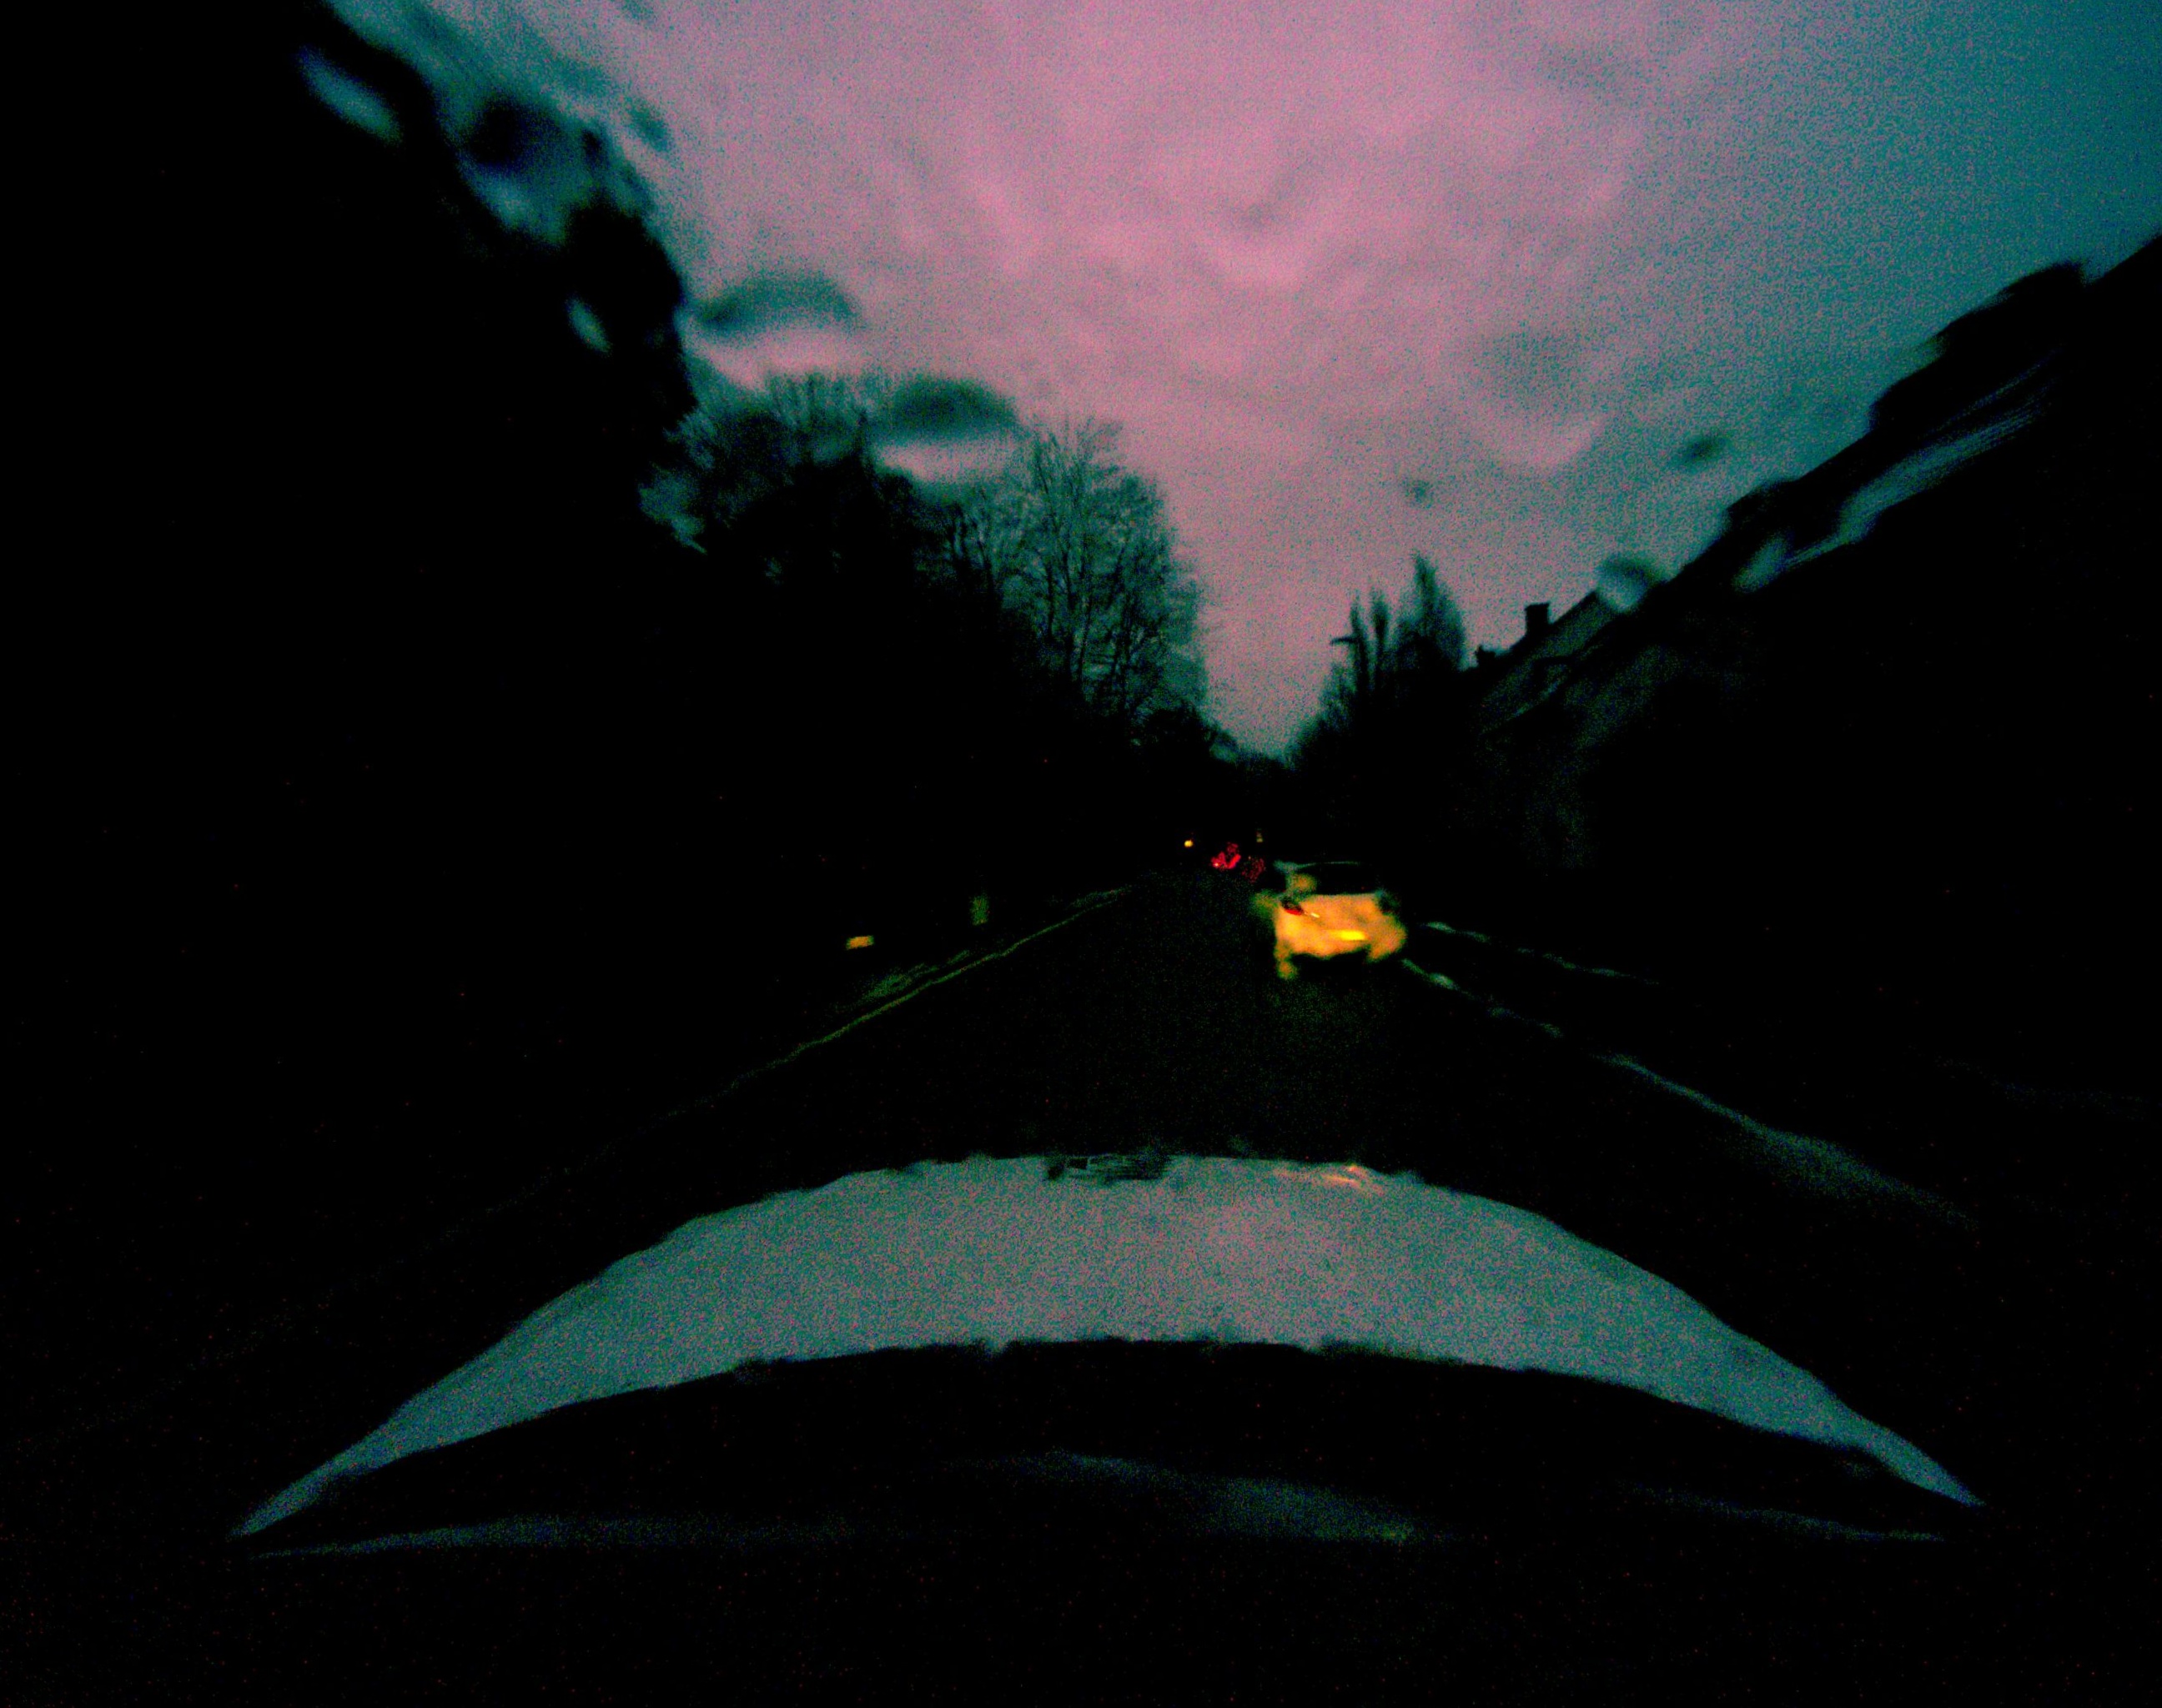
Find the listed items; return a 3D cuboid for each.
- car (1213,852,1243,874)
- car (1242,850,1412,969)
[{"bbox_3d":[12.258,0.723,67.522,1.918,1.781,4.018,-2,0,17],"label":"car"},{"bbox_3d":[3.526,0.728,12.406,1.695,1.506,4.030,0,-1,5],"label":"car"}]
